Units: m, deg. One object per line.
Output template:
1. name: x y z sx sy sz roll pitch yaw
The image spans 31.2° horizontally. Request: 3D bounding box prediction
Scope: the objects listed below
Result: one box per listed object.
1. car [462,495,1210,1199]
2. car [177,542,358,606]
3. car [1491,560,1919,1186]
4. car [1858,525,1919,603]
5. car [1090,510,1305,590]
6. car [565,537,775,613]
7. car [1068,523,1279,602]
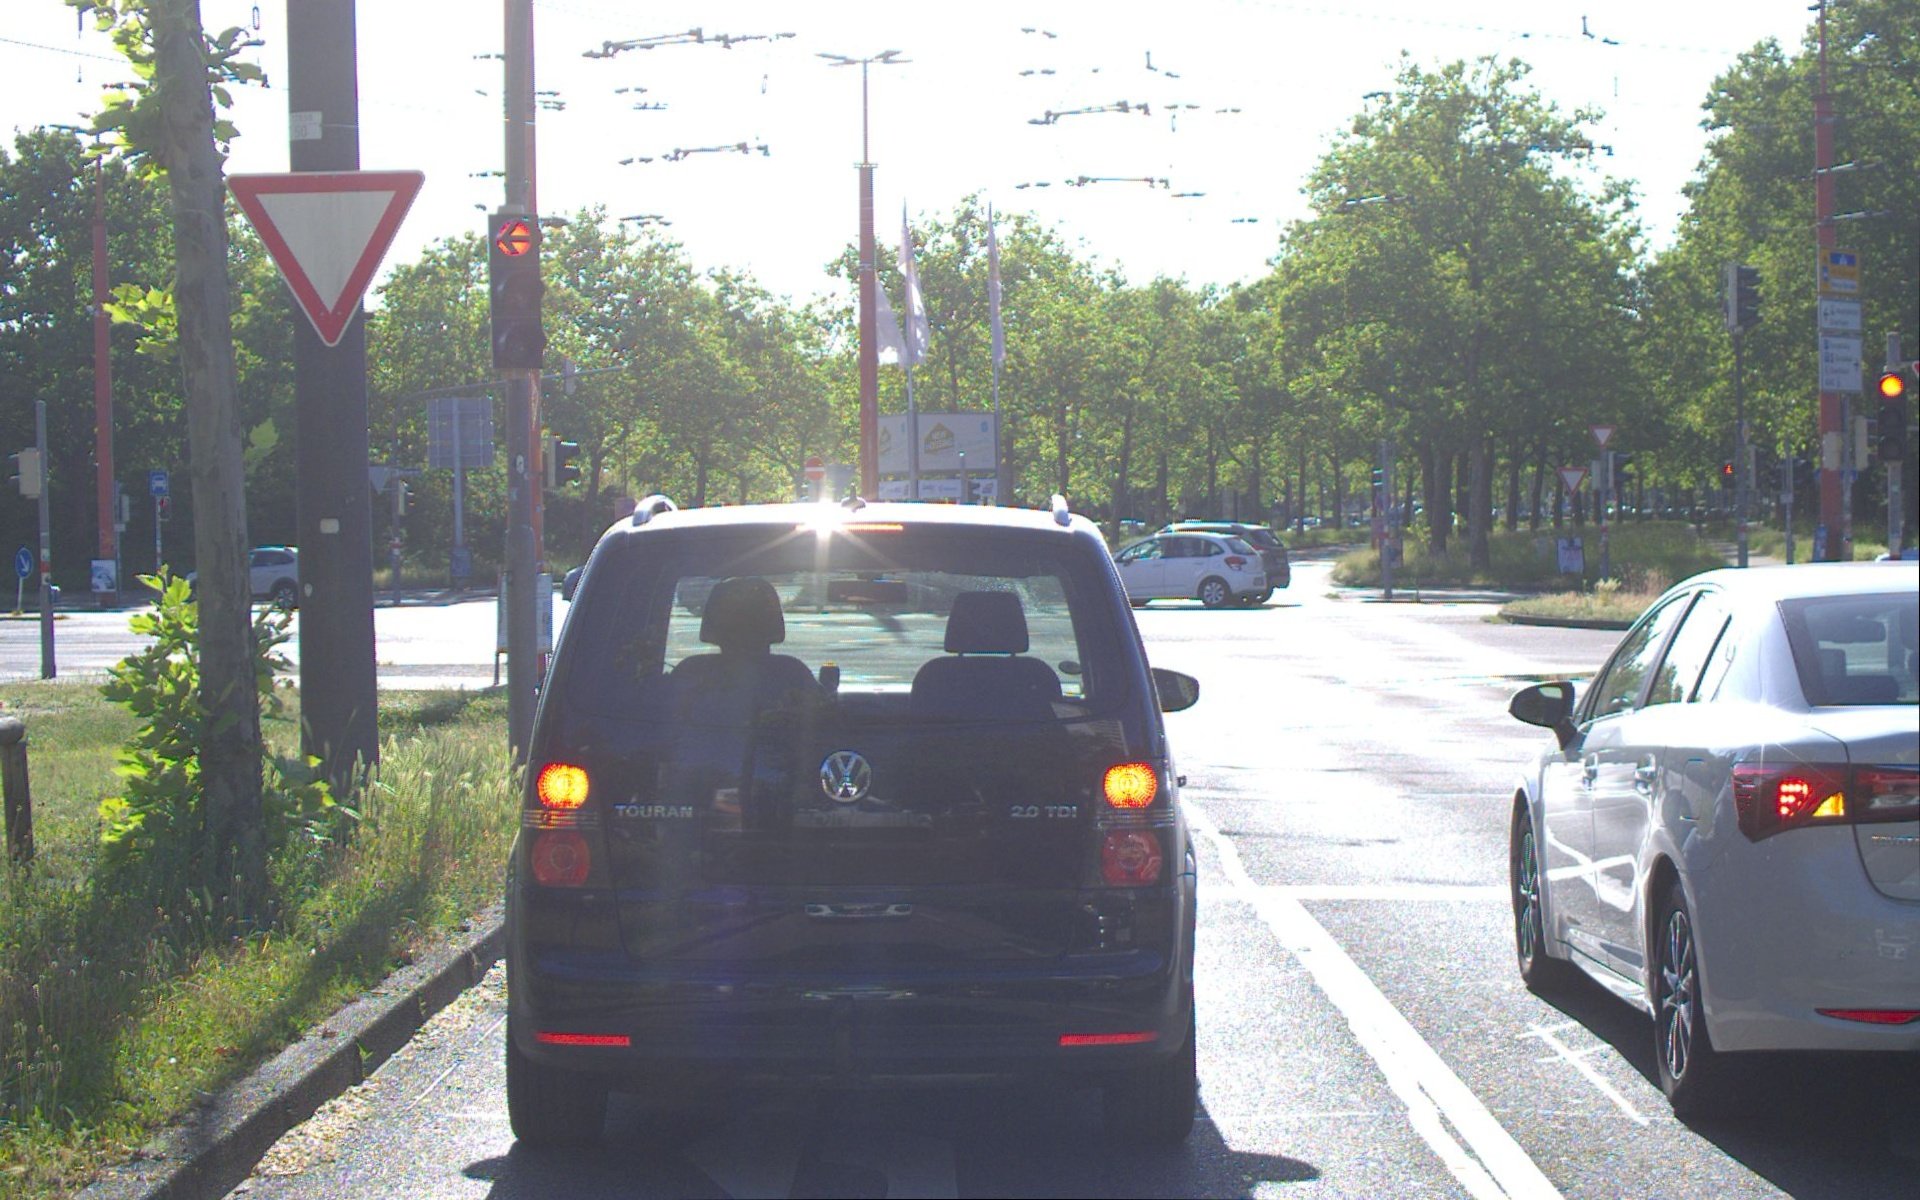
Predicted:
1. car: -0.312 0.538 9.817 1.700 1.616 3.897 0 1 -1
2. car: -16.565 -0.616 82.224 3.969 1.436 1.684 1 1 24
3. car: 2.717 0.619 10.099 1.720 1.433 4.198 1 1 1
4. car: 18.886 -0.682 64.405 3.741 1.468 1.598 0 1 26
5. car: 4.991 -1.054 72.273 4.125 1.638 1.850 0 1 25
6. car: -6.194 -0.540 73.341 4.125 1.592 1.826 0 1 27
7. car: 4.226 -0.745 68.140 3.824 1.517 1.693 0 1 25
